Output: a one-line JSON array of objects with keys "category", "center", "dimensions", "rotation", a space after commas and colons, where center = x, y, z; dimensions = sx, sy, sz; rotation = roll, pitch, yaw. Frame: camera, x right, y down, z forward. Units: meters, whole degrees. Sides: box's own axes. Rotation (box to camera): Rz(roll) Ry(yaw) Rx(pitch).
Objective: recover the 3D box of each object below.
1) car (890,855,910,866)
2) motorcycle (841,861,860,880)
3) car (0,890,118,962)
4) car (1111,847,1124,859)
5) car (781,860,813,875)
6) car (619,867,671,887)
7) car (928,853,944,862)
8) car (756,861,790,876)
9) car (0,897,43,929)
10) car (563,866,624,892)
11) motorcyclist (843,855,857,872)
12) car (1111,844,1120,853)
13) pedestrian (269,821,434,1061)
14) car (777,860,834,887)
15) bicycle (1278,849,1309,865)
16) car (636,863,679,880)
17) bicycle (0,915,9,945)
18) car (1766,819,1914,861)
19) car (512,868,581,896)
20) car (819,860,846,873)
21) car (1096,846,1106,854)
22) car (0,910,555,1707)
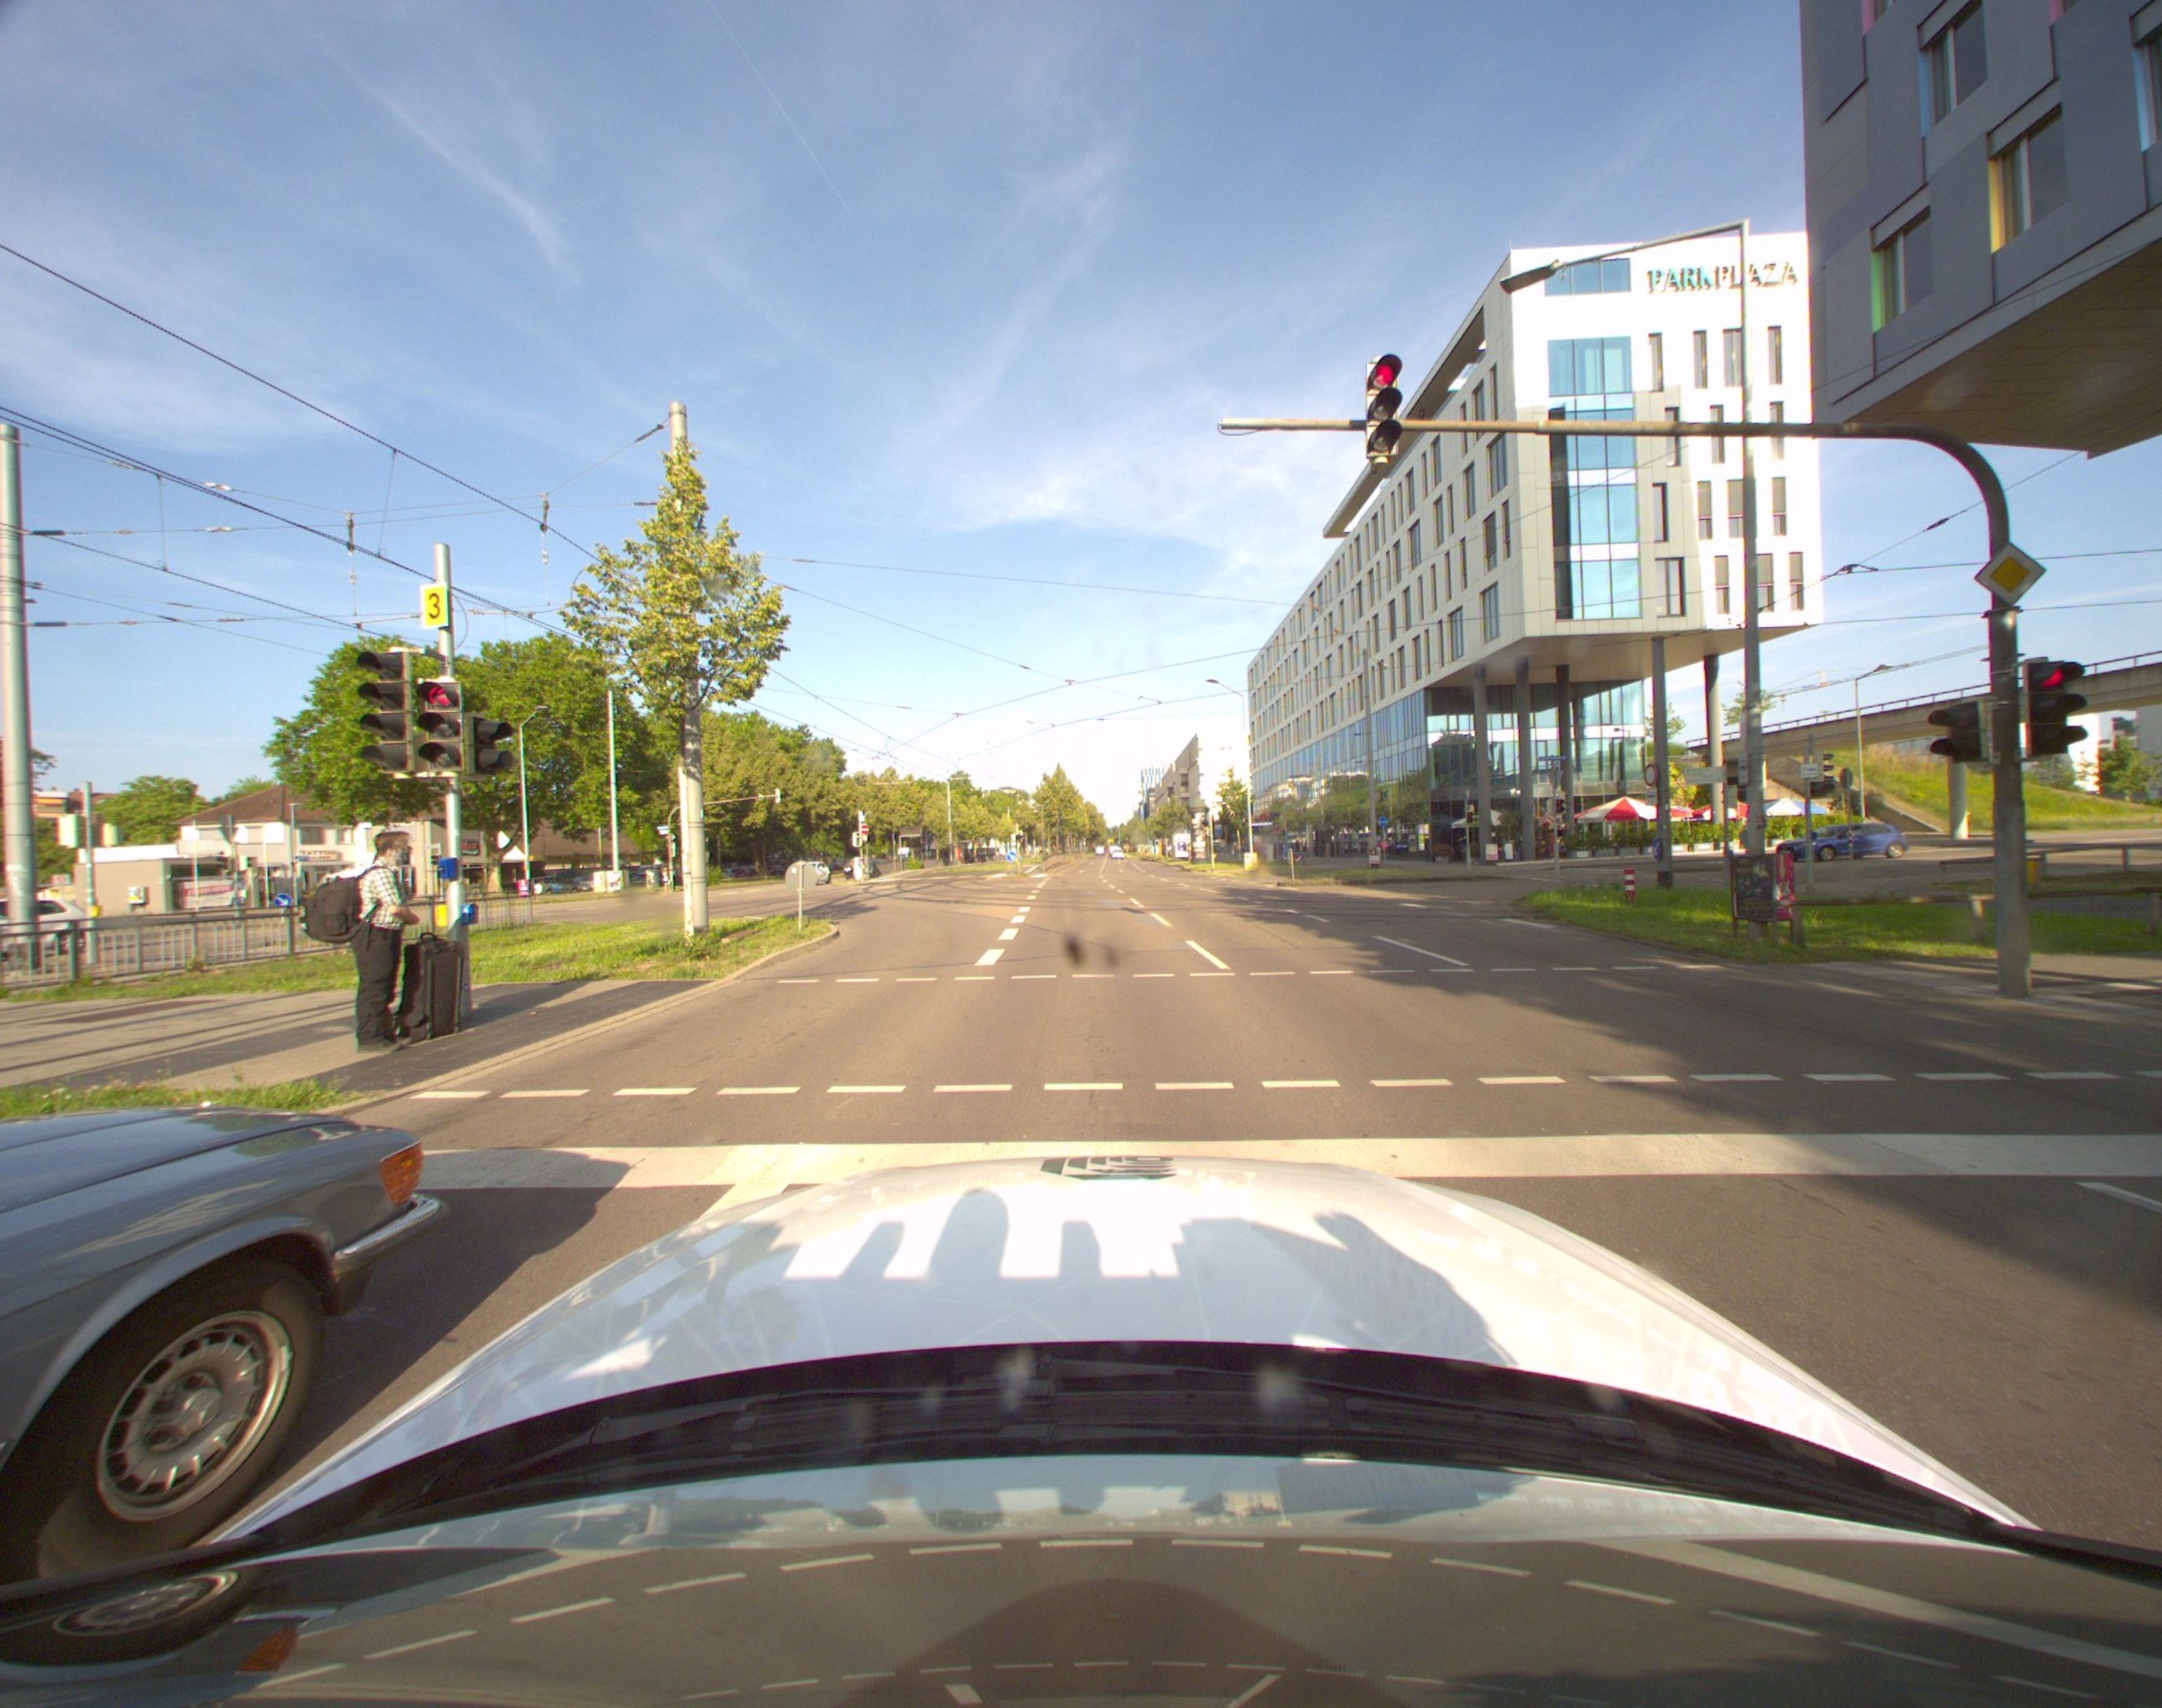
[{"category": "car", "center": [-29.228, 1.047, 131.537], "dimensions": [1.871, 1.559, 4.008], "rotation": [-2, 0, 7]}, {"category": "motorcycle", "center": [-16.778, 1.197, 59.278], "dimensions": [0.817, 1.263, 2.546], "rotation": [-1, 1, -4]}, {"category": "car", "center": [-25.691, 1.752, 18.734], "dimensions": [1.870, 1.527, 4.226], "rotation": [-2, 1, 2]}, {"category": "car", "center": [5.364, -0.191, 118.562], "dimensions": [1.856, 1.684, 4.003], "rotation": [0, 1, 3]}, {"category": "car", "center": [-33.697, 1.600, 96.692], "dimensions": [1.871, 1.559, 4.008], "rotation": [-2, 0, 7]}, {"category": "car", "center": [-36.754, 1.922, 68.786], "dimensions": [1.871, 1.559, 4.008], "rotation": [-2, 0, 7]}, {"category": "car", "center": [-27.000, 0.723, 151.918], "dimensions": [1.871, 1.559, 4.008], "rotation": [-2, 0, 7]}, {"category": "car", "center": [-34.405, 1.597, 91.134], "dimensions": [1.871, 1.559, 4.008], "rotation": [-2, 0, 7]}, {"category": "car", "center": [-63.334, 3.483, 47.275], "dimensions": [3.964, 1.728, 2.005], "rotation": [-2, 0, 8]}, {"category": "car", "center": [-37.463, 1.915, 62.745], "dimensions": [1.871, 1.750, 4.008], "rotation": [-2, 0, 7]}, {"category": "motorcyclist", "center": [-16.786, 0.669, 59.098], "dimensions": [0.780, 1.202, 0.847], "rotation": [0, 1, -3]}, {"category": "car", "center": [6.571, -1.061, 154.844], "dimensions": [1.856, 1.684, 4.003], "rotation": [0, 1, 3]}, {"category": "pedestrian", "center": [-5.704, 0.649, 6.401], "dimensions": [0.697, 1.792, 0.636], "rotation": [-1, 0, 2]}, {"category": "car", "center": [-17.198, 1.198, 51.076], "dimensions": [1.986, 1.504, 4.094], "rotation": [-3, -1, 2]}, {"category": "bicycle", "center": [14.158, 0.193, 54.232], "dimensions": [0.778, 1.032, 1.856], "rotation": [-2, 2, -42]}, {"category": "car", "center": [-43.464, 1.792, 83.726], "dimensions": [1.871, 1.559, 4.008], "rotation": [-2, 0, 7]}, {"category": "bicycle", "center": [-38.705, 2.703, 27.980], "dimensions": [2.203, 1.041, 0.695], "rotation": [-2, 0, -21]}, {"category": "car", "center": [30.382, -0.549, 32.683], "dimensions": [4.169, 1.424, 1.859], "rotation": [-3, 1, 1]}, {"category": "car", "center": [-37.996, 1.984, 57.996], "dimensions": [1.871, 1.750, 4.008], "rotation": [-2, 0, 7]}, {"category": "car", "center": [-32.379, 1.588, 106.118], "dimensions": [1.871, 1.559, 4.008], "rotation": [-2, 0, 7]}, {"category": "car", "center": [4.507, -0.885, 184.169], "dimensions": [2.006, 1.684, 4.003], "rotation": [0, 1, 3]}, {"category": "car", "center": [-2.764, 0.893, 0.634], "dimensions": [1.757, 1.330, 4.401], "rotation": [0, 1, 1]}]
